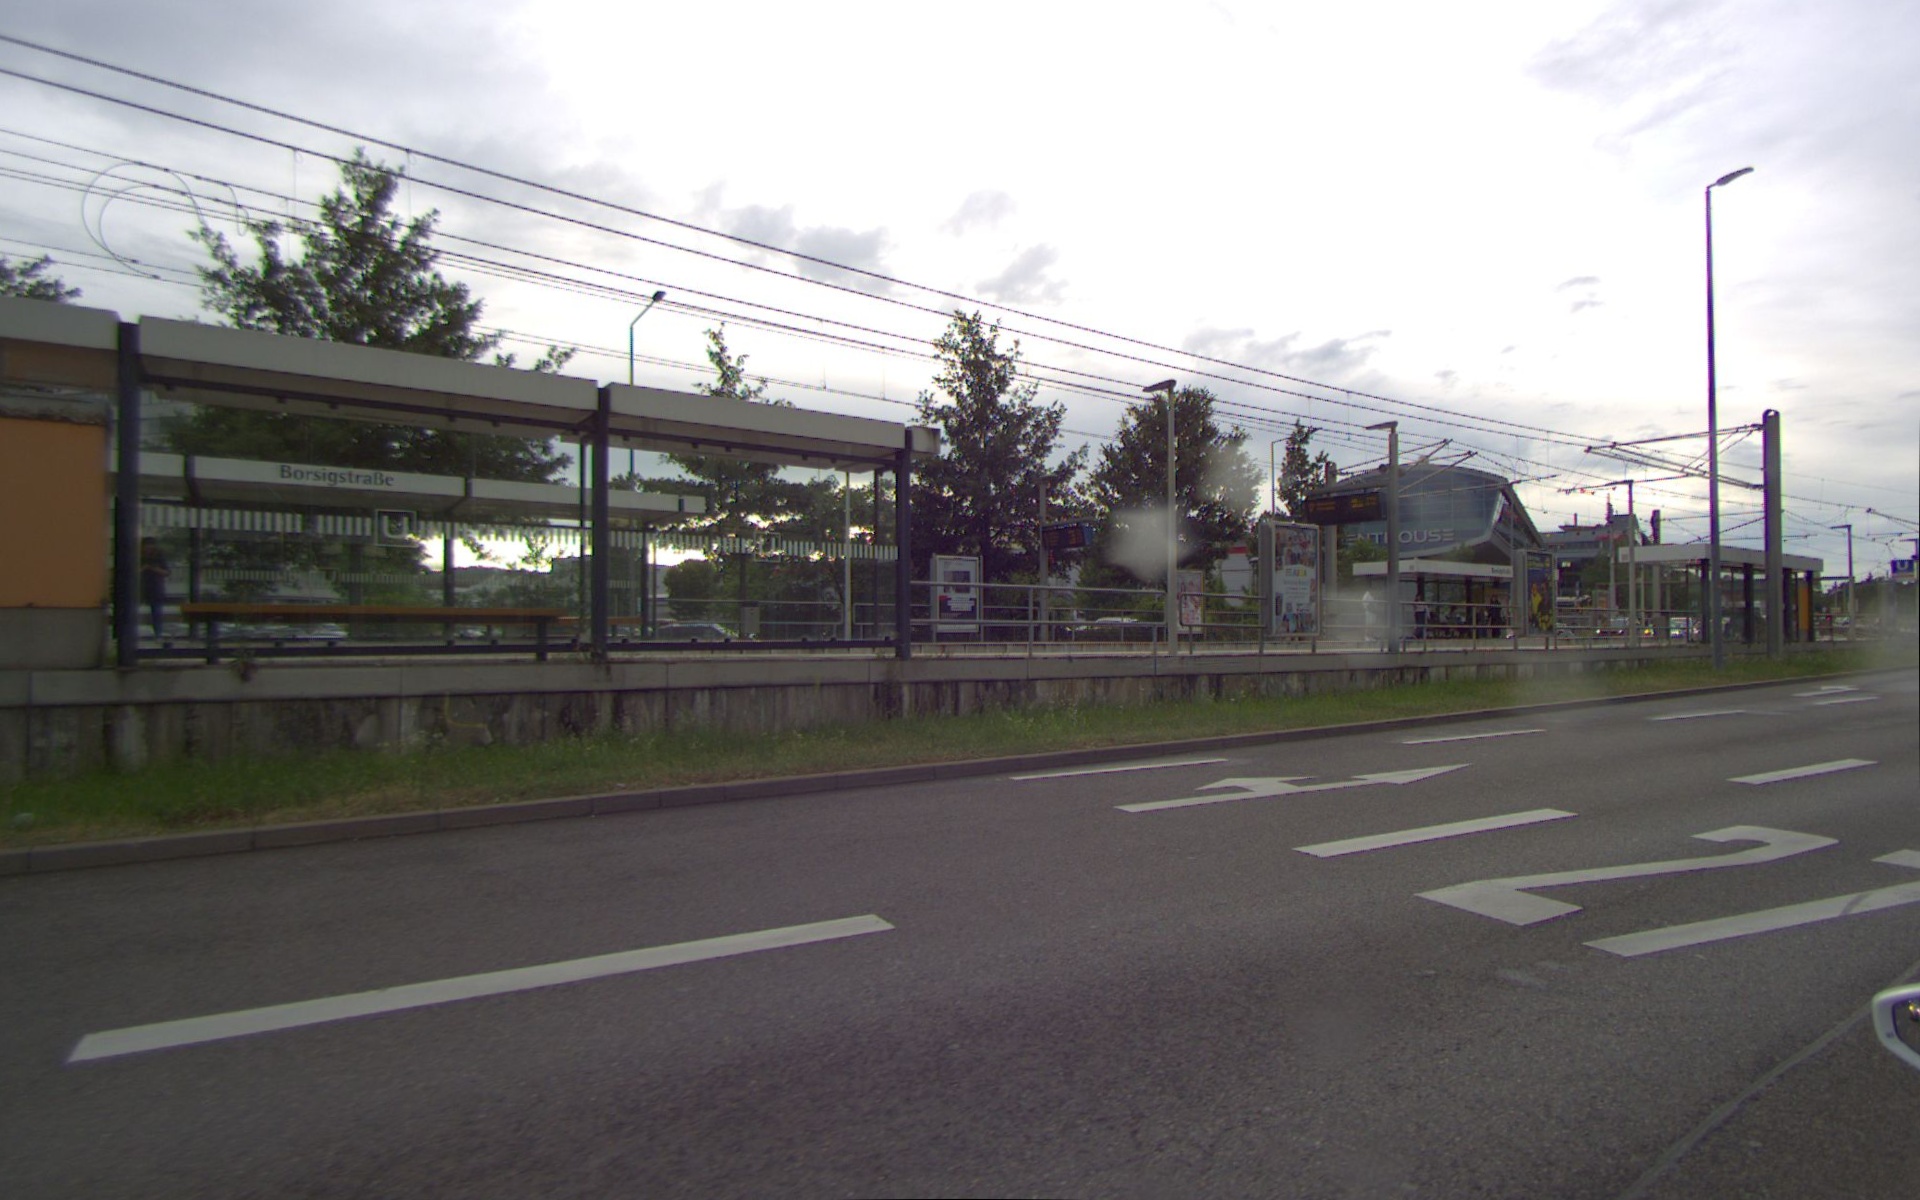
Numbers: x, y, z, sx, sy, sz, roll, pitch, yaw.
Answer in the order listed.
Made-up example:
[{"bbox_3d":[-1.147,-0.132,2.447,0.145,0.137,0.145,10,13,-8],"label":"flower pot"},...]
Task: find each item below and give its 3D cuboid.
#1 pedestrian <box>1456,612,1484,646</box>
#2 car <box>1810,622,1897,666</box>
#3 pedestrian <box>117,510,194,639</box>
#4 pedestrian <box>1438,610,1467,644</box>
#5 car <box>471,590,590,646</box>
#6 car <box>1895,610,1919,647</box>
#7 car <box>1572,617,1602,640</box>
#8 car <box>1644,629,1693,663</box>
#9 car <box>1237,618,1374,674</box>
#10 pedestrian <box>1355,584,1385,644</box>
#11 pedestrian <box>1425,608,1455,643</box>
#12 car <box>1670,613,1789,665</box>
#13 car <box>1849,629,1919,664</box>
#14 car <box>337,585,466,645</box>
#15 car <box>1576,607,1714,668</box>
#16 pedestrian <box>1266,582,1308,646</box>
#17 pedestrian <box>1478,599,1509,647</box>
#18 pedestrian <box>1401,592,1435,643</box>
[{"bbox_3d":[19.979,1.137,39.347,0.725,1.269,0.721,3,-2,-36],"label":"pedestrian"},{"bbox_3d":[39.295,1.932,44.160,3.809,1.697,1.980,2,2,-35],"label":"car"},{"bbox_3d":[-12.263,-0.372,15.337,0.744,1.878,0.633,5,-3,-35],"label":"pedestrian"},{"bbox_3d":[19.012,1.049,38.788,0.725,1.269,0.721,3,-2,-36],"label":"pedestrian"},{"bbox_3d":[-16.504,0.672,38.592,3.956,2.040,1.982,1,0,-32],"label":"car"},{"bbox_3d":[50.999,1.559,52.728,3.809,1.833,1.980,2,2,-35],"label":"car"},{"bbox_3d":[63.196,2.876,101.279,1.962,2.040,3.999,3,-3,24],"label":"car"},{"bbox_3d":[50.508,3.295,71.584,3.973,2.039,1.975,8,-5,-42],"label":"car"},{"bbox_3d":[9.124,1.167,26.479,3.301,1.354,1.847,1,0,-35],"label":"car"},{"bbox_3d":[14.590,0.506,35.751,0.706,2.108,0.685,1,-1,-30],"label":"pedestrian"},{"bbox_3d":[18.095,0.952,37.875,0.725,1.269,0.721,3,-2,-36],"label":"pedestrian"},{"bbox_3d":[24.602,1.249,32.090,3.810,1.471,1.980,4,-2,-35],"label":"car"},{"bbox_3d":[44.088,2.165,47.638,3.809,1.472,1.980,1,2,-35],"label":"car"},{"bbox_3d":[-20.173,0.573,36.322,3.956,2.040,1.982,2,-1,-32],"label":"car"},{"bbox_3d":[19.014,0.984,27.847,3.808,1.472,1.981,-2,1,-35],"label":"car"},{"bbox_3d":[10.817,0.454,33.252,1.034,2.040,0.846,6,-3,-44],"label":"pedestrian"},{"bbox_3d":[20.388,0.888,38.398,0.756,1.773,0.747,5,-3,-34],"label":"pedestrian"},{"bbox_3d":[16.293,0.621,35.719,0.823,1.737,0.725,3,-2,-34],"label":"pedestrian"}]
